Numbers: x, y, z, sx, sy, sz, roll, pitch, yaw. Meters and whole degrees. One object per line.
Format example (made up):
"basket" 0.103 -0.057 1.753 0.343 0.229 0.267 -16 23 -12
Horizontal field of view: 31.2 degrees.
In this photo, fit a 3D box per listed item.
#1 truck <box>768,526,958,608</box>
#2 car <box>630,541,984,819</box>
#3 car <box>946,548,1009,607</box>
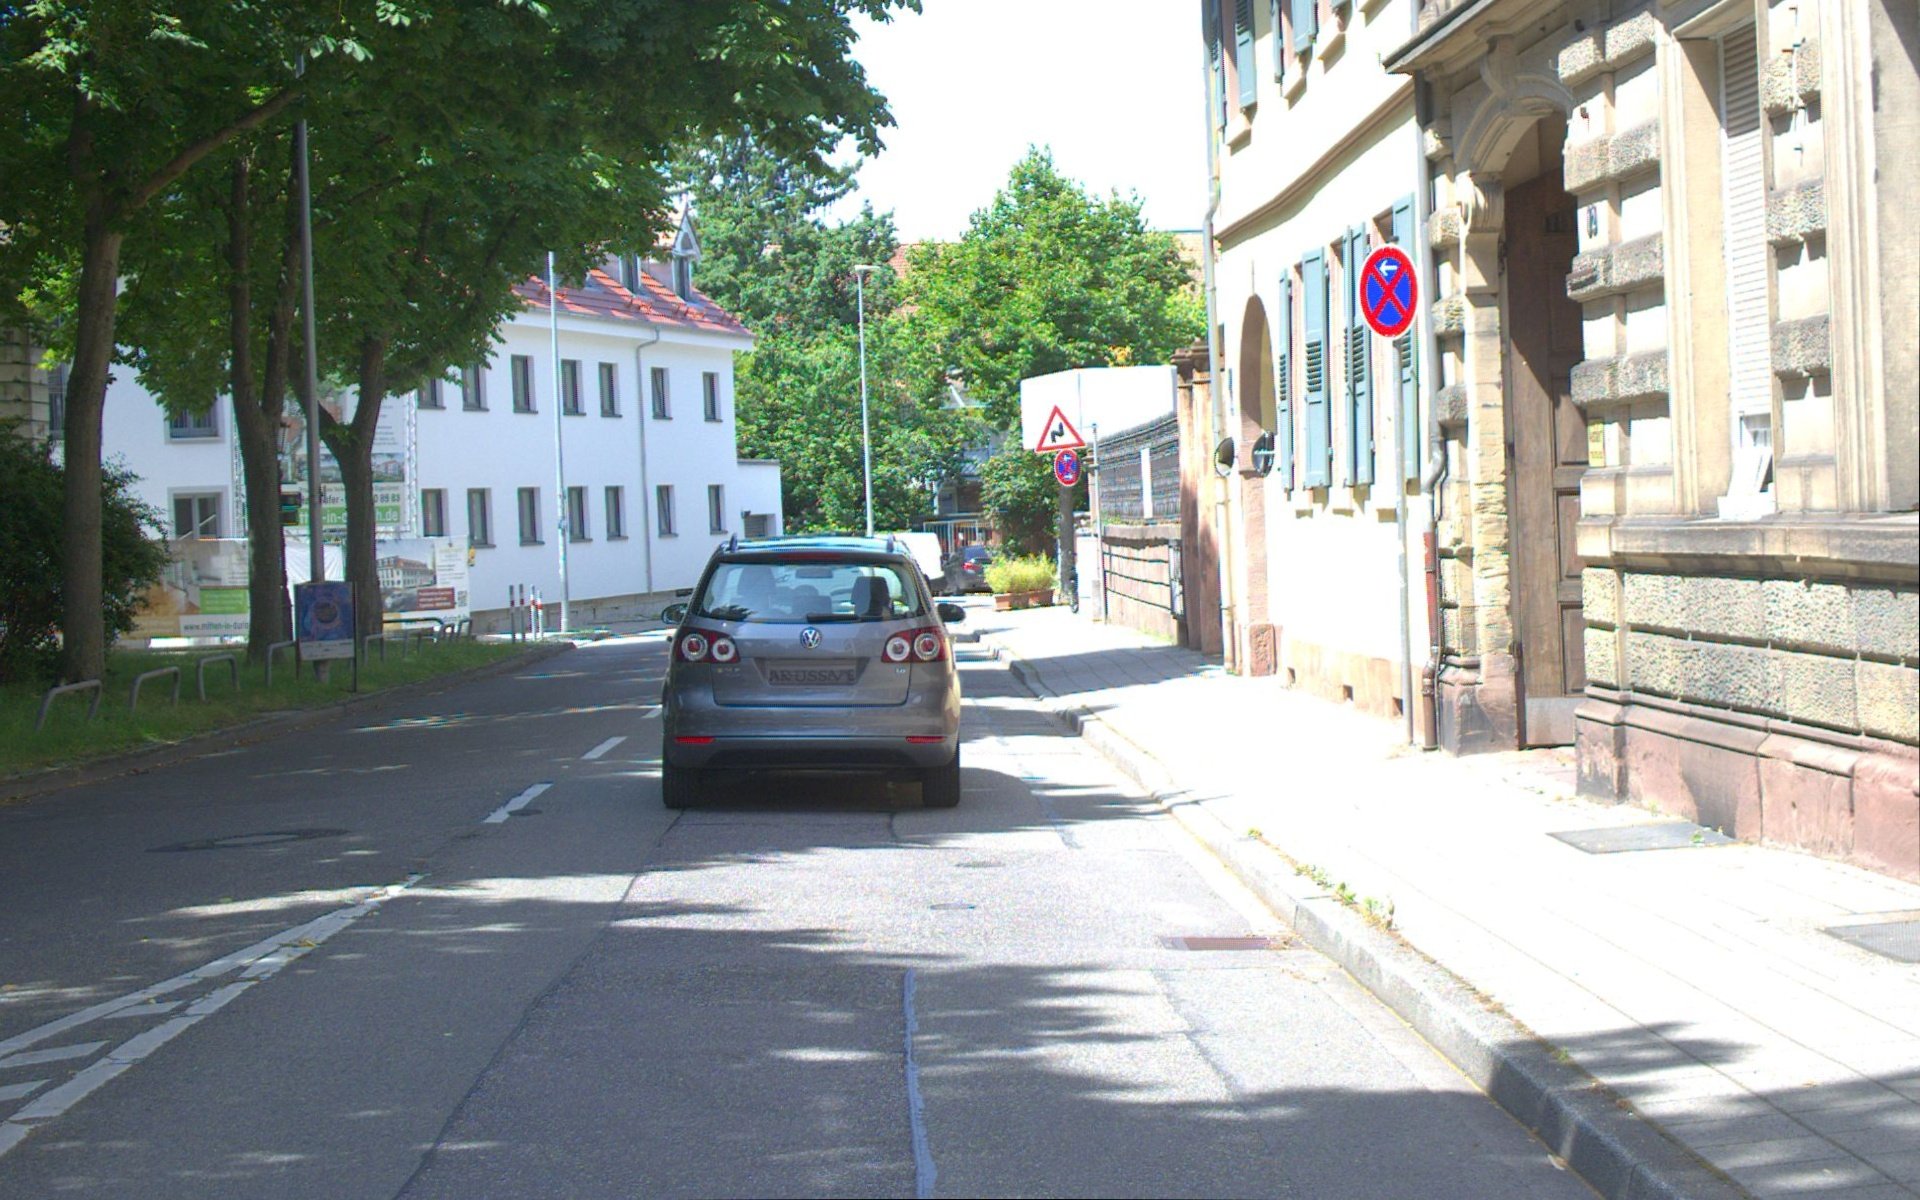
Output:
"truck" -2.596 -0.894 91.356 4.792 2.007 2.146 -2 1 -8
"car" -0.832 0.408 21.116 1.903 1.528 4.243 0 1 1
"car" 0.468 -0.650 96.260 1.647 1.568 3.639 -1 1 -1
